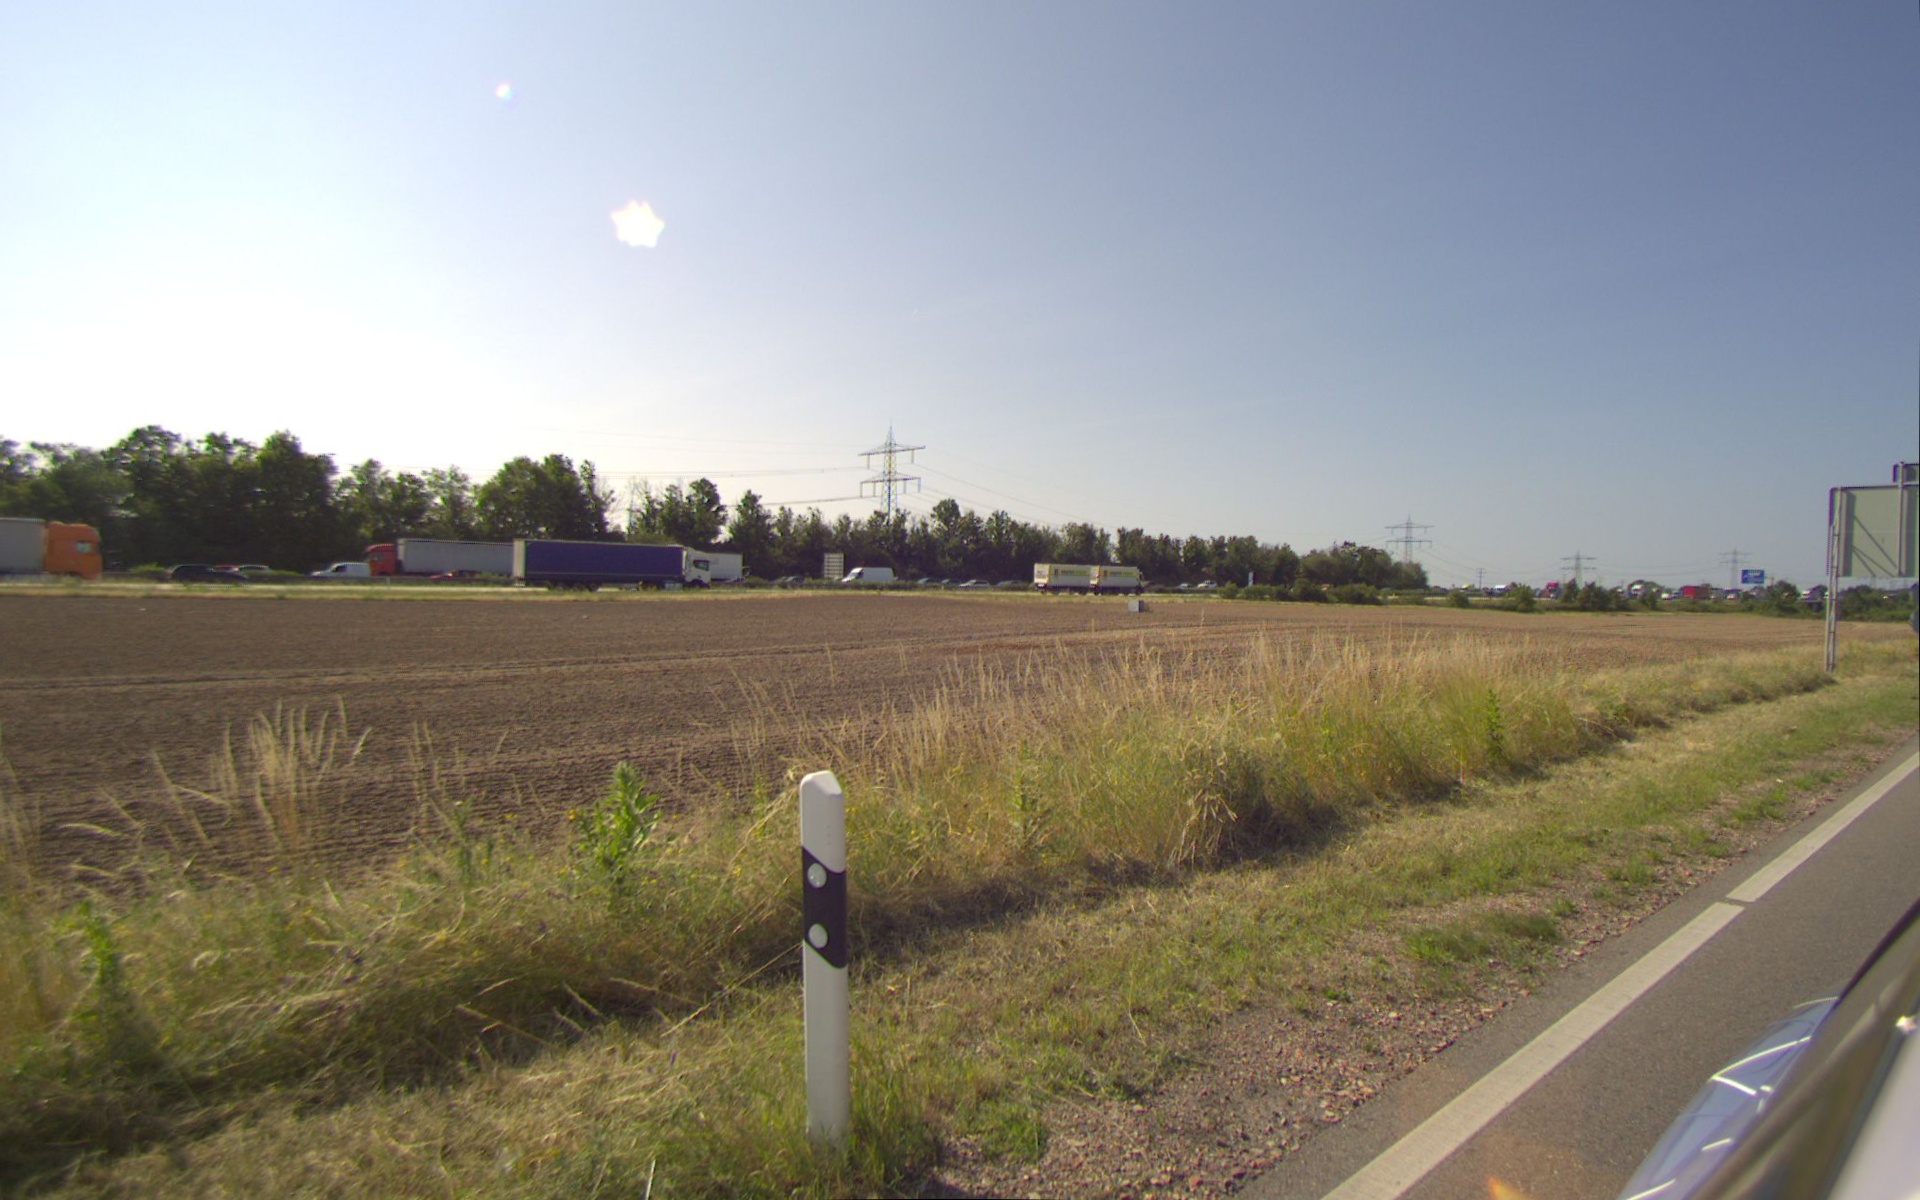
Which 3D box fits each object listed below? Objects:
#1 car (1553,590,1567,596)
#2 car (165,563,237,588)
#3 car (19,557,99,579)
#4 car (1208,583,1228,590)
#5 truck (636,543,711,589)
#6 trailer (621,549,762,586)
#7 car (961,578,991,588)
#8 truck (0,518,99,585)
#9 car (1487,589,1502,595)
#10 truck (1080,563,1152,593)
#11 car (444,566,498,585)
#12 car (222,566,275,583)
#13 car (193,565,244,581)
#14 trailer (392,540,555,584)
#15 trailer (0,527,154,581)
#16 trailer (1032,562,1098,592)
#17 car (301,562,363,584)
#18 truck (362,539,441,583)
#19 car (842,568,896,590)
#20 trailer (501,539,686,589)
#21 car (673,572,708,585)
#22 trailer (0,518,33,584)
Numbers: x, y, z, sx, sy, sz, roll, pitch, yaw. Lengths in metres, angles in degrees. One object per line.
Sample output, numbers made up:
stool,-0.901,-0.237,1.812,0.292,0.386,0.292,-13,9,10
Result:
car,131.792,-1.606,222.182,3.488,1.279,1.581,0,0,-41
car,-52.410,-1.687,69.903,3.826,1.595,1.997,0,0,-41
car,-63.673,-2.242,71.616,4.174,1.403,1.853,1,0,-42
car,43.881,-2.303,172.168,3.795,1.139,1.342,0,0,-41
truck,-25.074,-2.981,88.554,5.517,3.849,3.075,-2,2,-43
trailer,-28.750,-3.484,109.275,14.823,3.575,3.208,0,2,-42
car,2.005,-2.116,127.021,3.795,1.139,1.342,0,0,-41
truck,-56.688,-2.906,61.267,6.831,3.897,3.108,0,0,-42
car,111.559,-1.604,211.067,3.488,1.279,1.581,0,0,-41
truck,19.889,-2.765,128.365,10.929,3.521,2.810,0,1,-42
car,-42.861,-2.117,88.723,4.023,1.528,1.705,0,0,-41
car,-55.388,-1.963,78.763,3.237,1.300,1.341,0,0,-43
car,-60.242,-2.201,82.225,3.236,1.234,1.342,0,0,-42
trailer,-45.446,-3.455,95.095,13.543,3.780,2.950,0,1,-42
trailer,-67.913,-3.367,74.696,13.130,3.780,3.078,0,1,-41
trailer,12.700,-2.780,121.861,8.568,3.458,2.797,0,1,-42
car,-50.756,-2.135,81.810,4.024,1.659,1.705,0,0,-42
truck,-50.141,-3.469,90.920,5.767,3.780,2.950,0,1,-41
car,-10.655,-2.452,118.877,6.300,2.478,2.041,0,0,-41
trailer,-30.067,-2.956,83.899,14.348,3.849,3.075,-2,2,-43
car,-27.194,-2.191,102.188,3.237,1.234,1.342,0,1,-43
trailer,-61.401,-2.922,56.989,13.482,3.897,3.108,0,0,-42
